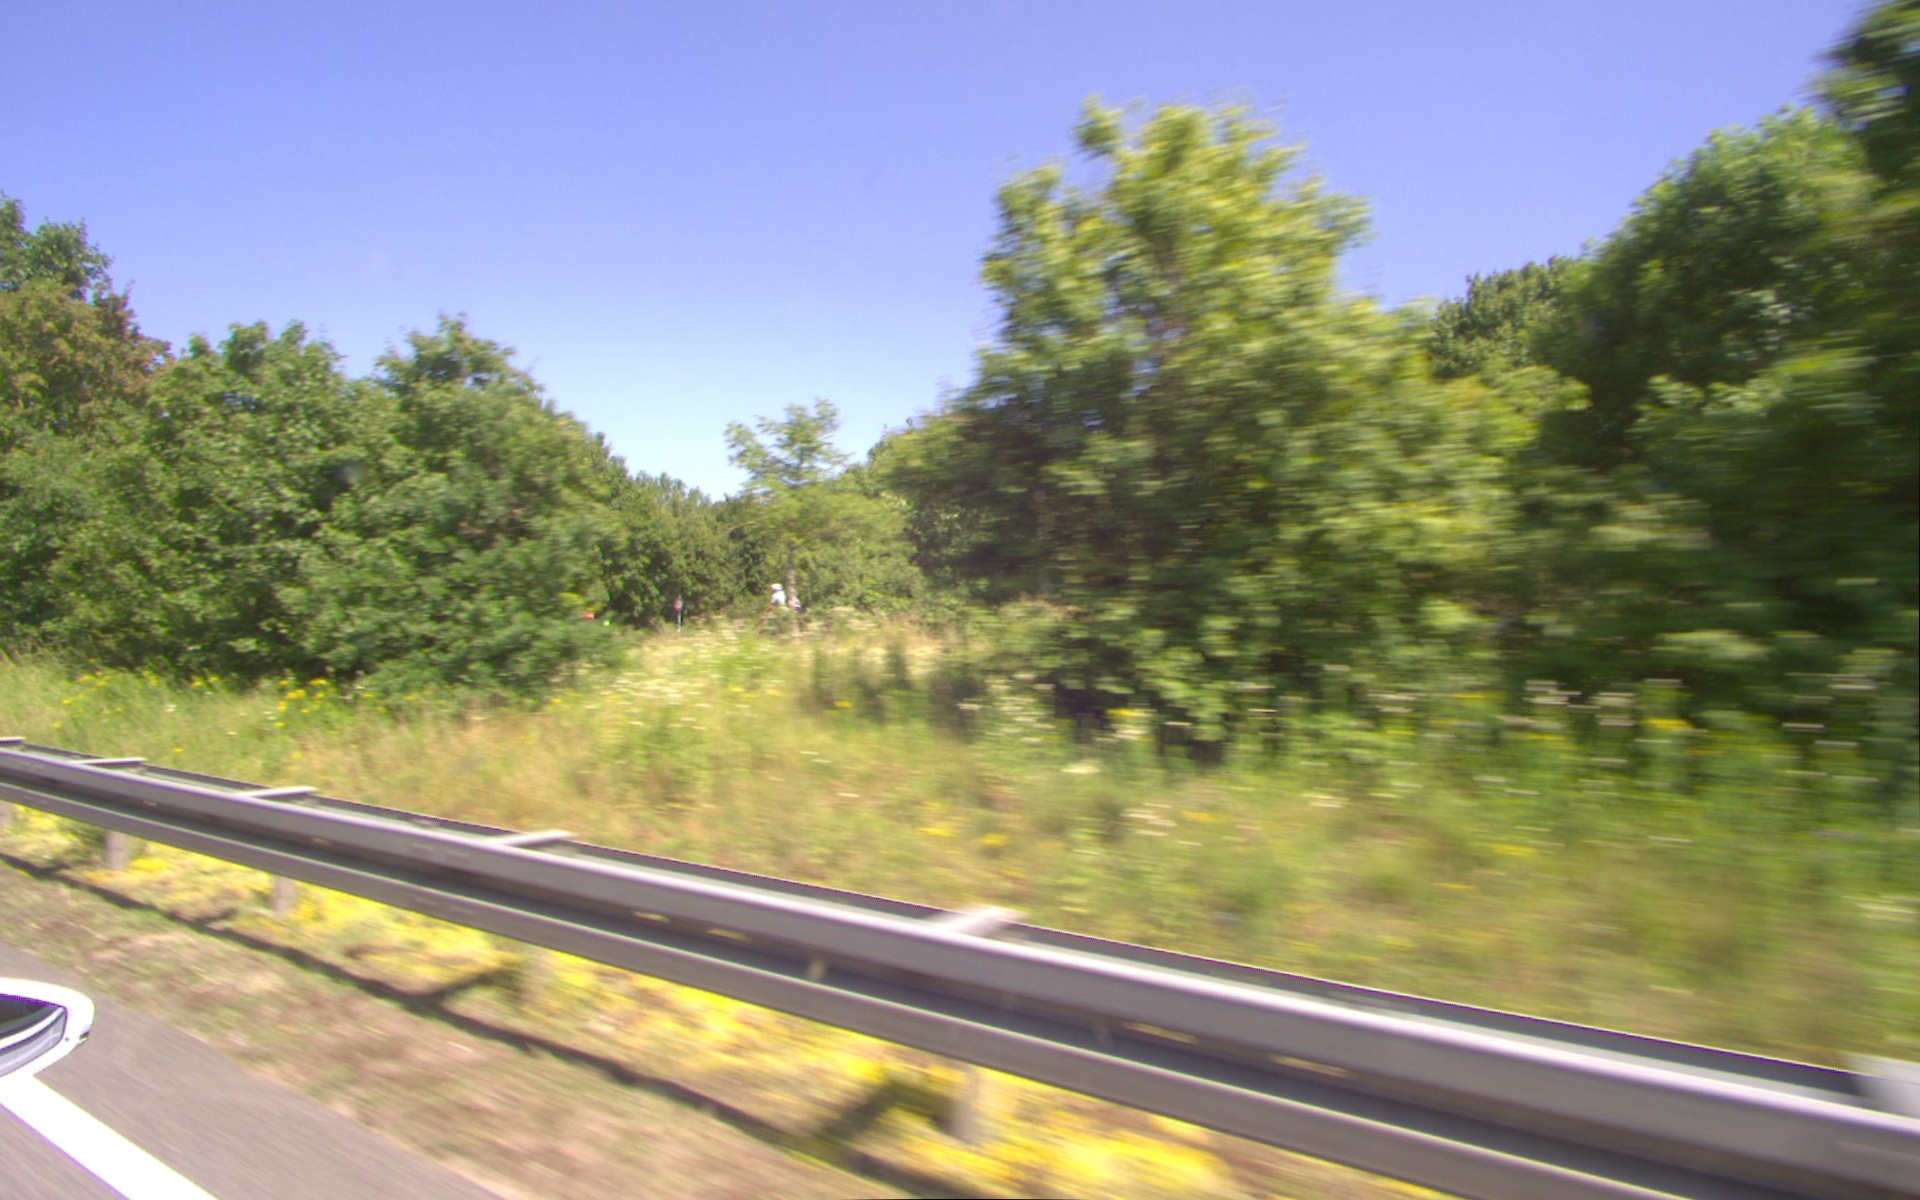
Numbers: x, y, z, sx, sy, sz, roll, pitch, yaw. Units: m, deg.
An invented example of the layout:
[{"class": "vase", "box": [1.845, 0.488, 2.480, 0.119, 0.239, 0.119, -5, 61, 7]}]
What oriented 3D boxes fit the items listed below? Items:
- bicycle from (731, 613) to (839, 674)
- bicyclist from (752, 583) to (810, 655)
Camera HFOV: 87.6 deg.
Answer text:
[{"class": "bicycle", "box": [-4.069, 1.004, 23.343, 2.323, 1.358, 0.835, 0, 0, 13]}, {"class": "bicyclist", "box": [-4.160, 0.438, 23.310, 1.091, 1.651, 0.829, 0, 0, 12]}]
